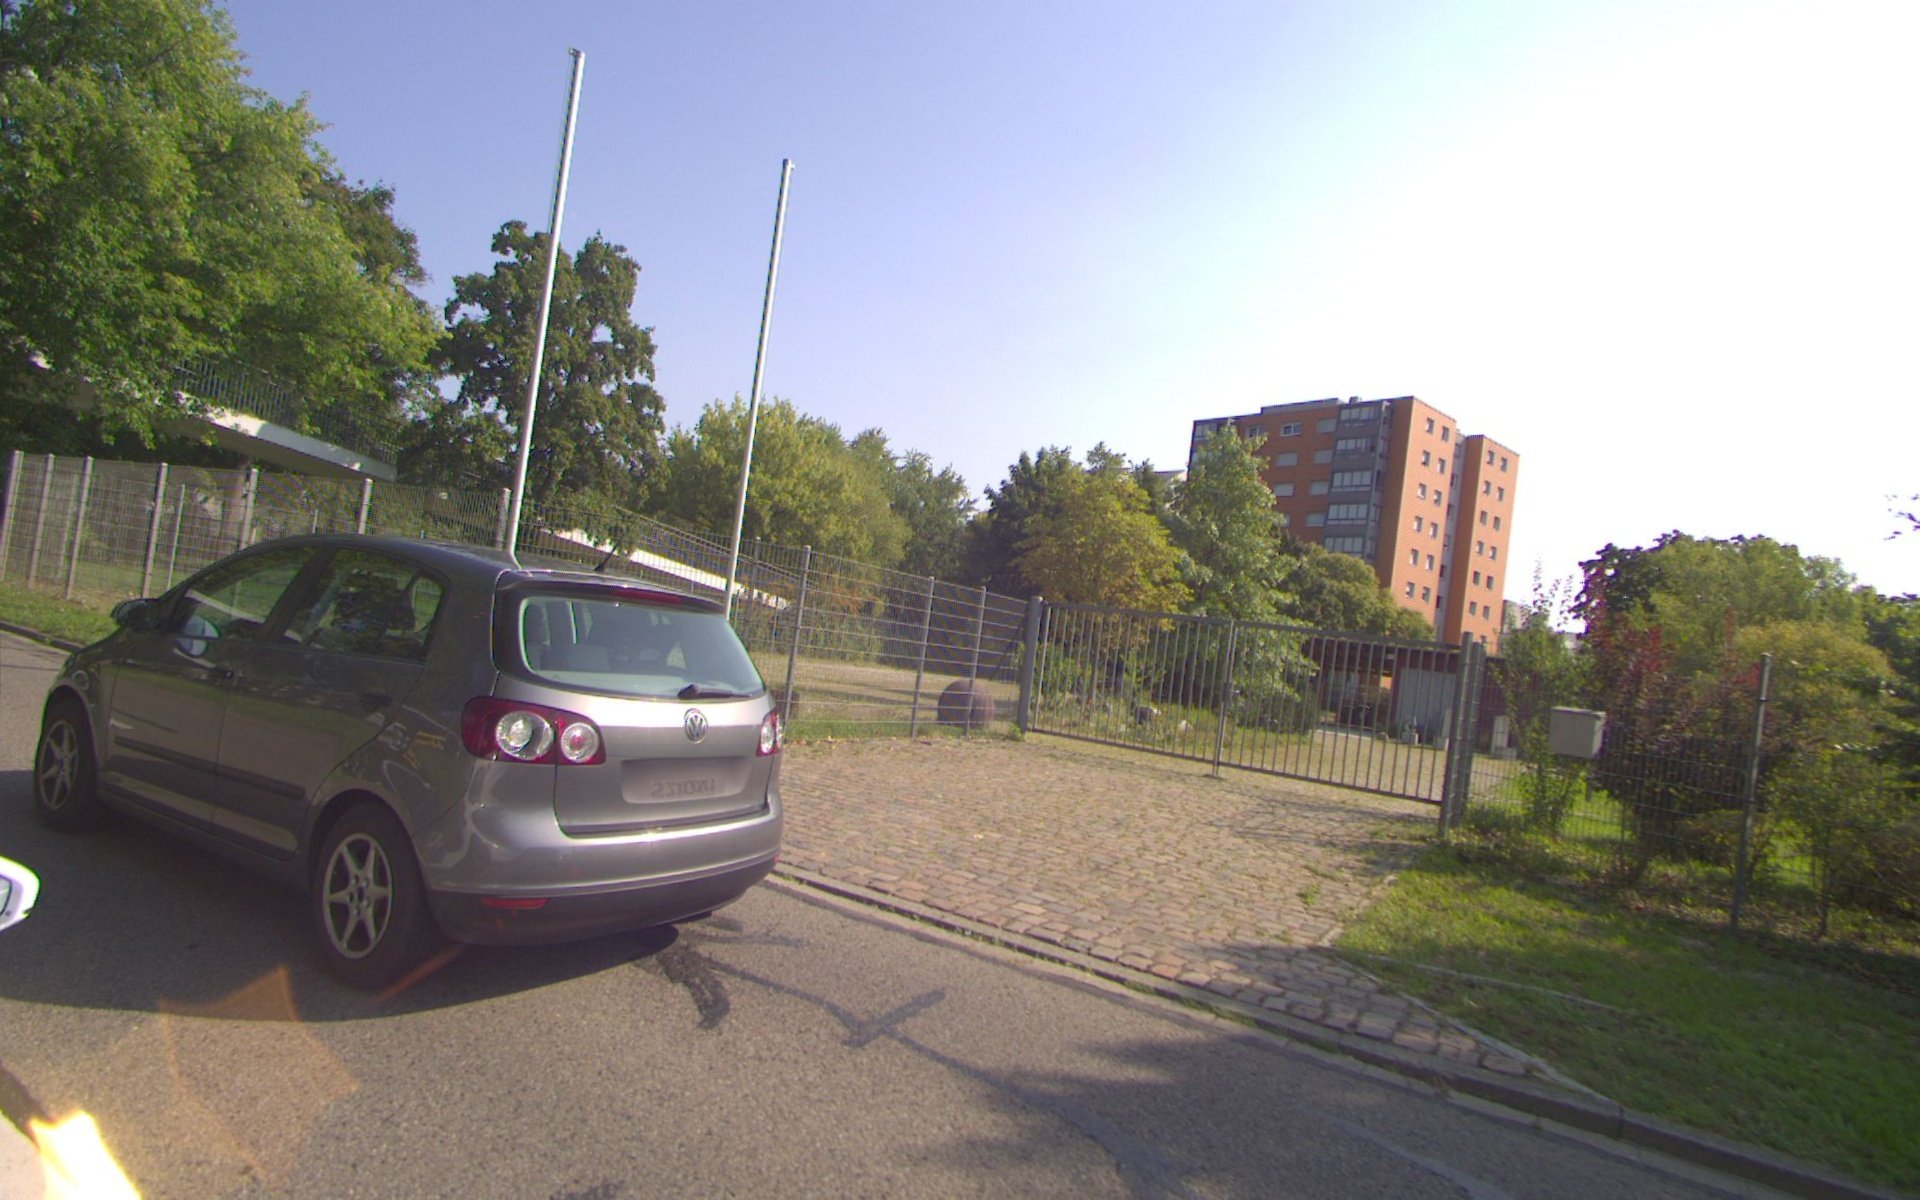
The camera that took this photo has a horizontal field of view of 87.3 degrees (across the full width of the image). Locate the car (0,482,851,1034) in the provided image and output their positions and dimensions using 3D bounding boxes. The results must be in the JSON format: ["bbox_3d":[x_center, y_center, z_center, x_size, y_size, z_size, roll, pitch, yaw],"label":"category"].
[{"bbox_3d":[-2.635,0.460,4.767,3.833,1.574,1.650,6,-3,30],"label":"car"}]

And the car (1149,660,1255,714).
[{"bbox_3d":[10.344,3.712,43.073,3.933,1.736,1.744,6,-2,30],"label":"car"}]
